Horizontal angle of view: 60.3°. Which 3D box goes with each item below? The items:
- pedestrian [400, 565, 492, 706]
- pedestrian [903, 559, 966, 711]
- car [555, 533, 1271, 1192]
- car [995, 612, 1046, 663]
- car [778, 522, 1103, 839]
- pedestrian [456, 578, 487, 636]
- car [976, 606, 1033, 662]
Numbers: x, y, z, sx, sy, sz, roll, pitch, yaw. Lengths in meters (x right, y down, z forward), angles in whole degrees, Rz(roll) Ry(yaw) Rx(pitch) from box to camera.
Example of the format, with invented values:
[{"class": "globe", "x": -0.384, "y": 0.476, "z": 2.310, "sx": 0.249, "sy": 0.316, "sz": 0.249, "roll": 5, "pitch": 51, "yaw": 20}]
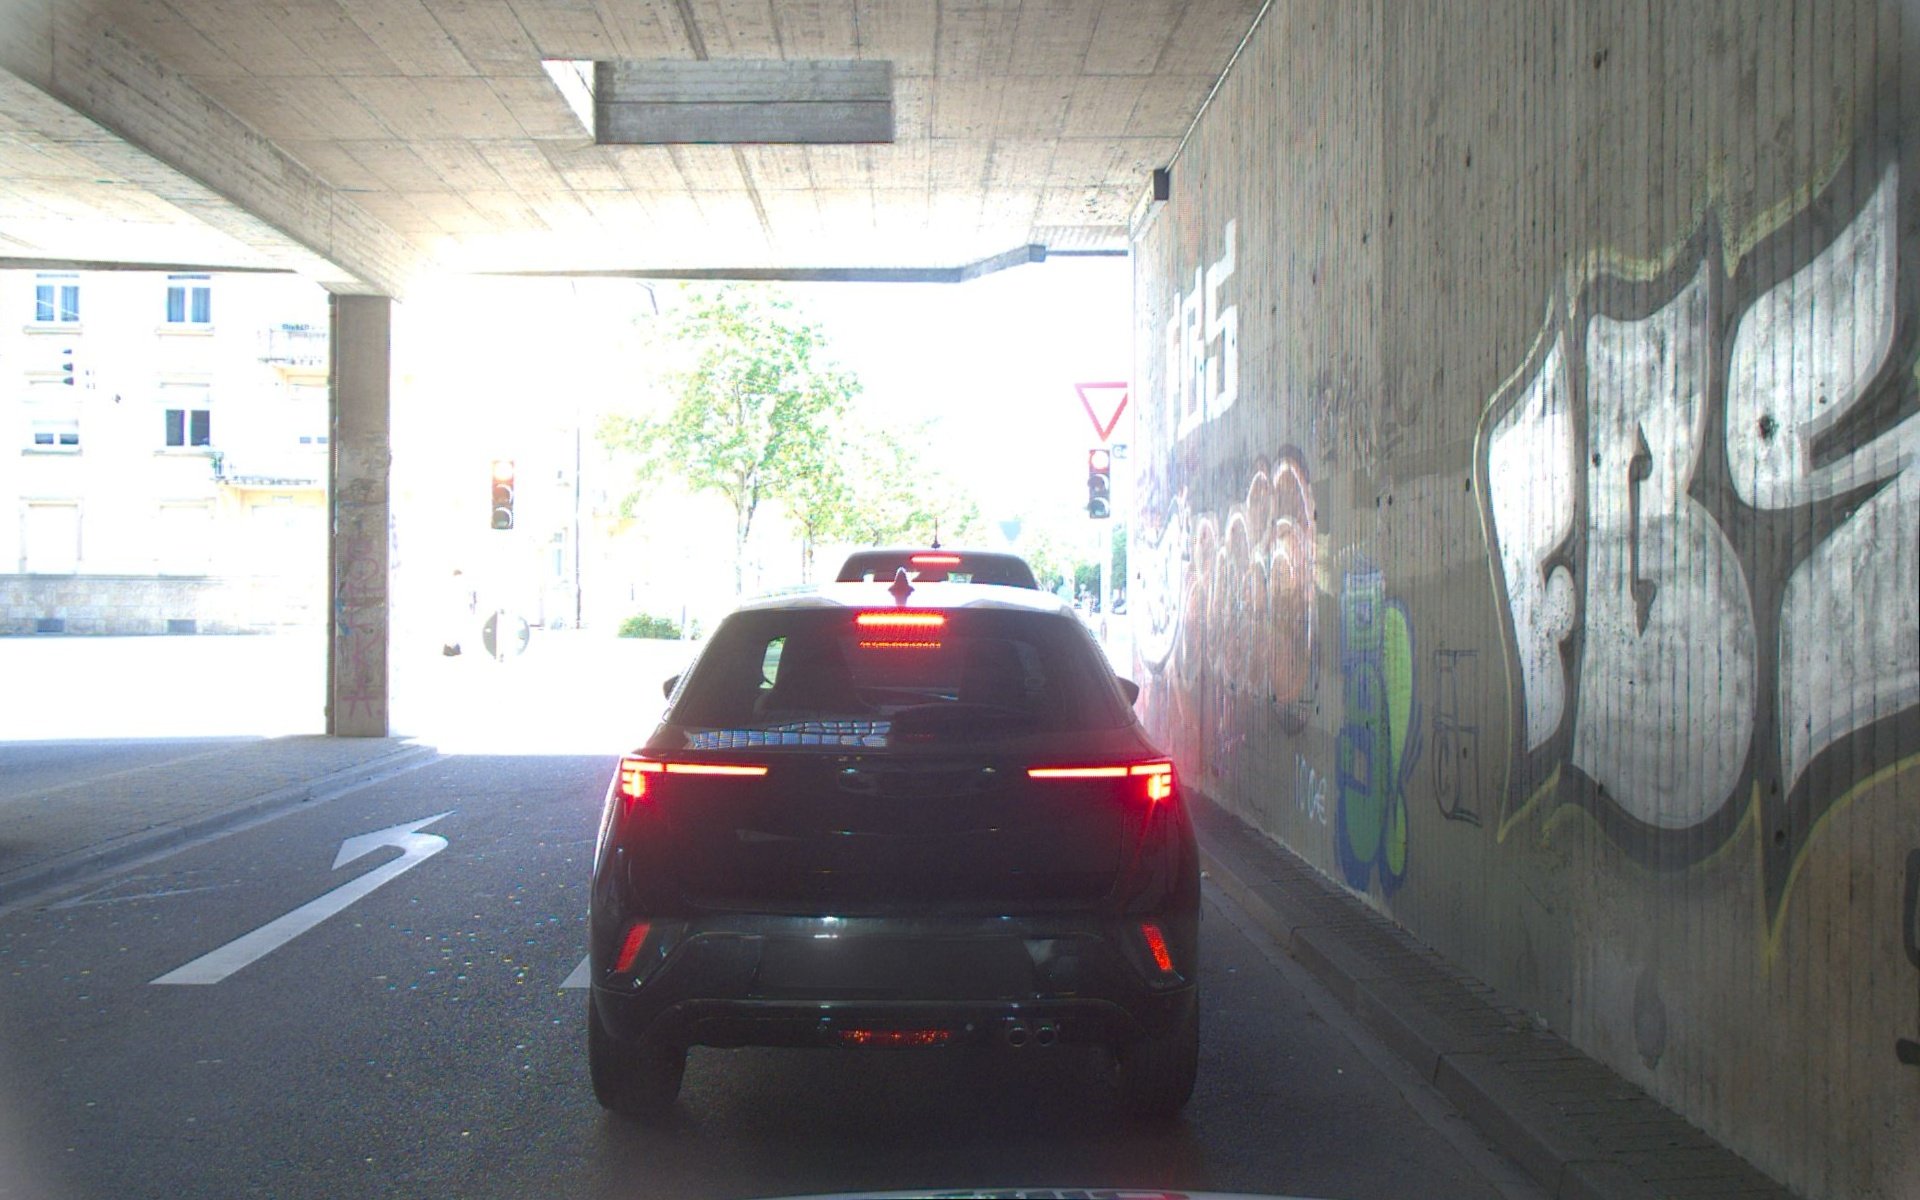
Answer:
[{"class": "pedestrian", "x": -6.728, "y": 0.457, "z": 21.694, "sx": 0.910, "sy": 1.792, "sz": 0.794, "roll": 1, "pitch": -1, "yaw": 1}, {"class": "pedestrian", "x": -0.306, "y": 0.414, "z": 19.841, "sx": 0.716, "sy": 1.764, "sz": 0.874, "roll": 1, "pitch": -1, "yaw": -1}, {"class": "car", "x": -0.141, "y": 0.604, "z": 6.057, "sx": 1.729, "sy": 1.598, "sz": 4.000, "roll": 1, "pitch": 1, "yaw": -1}, {"class": "car", "x": 2.537, "y": 1.517, "z": 68.505, "sx": 1.951, "sy": 2.004, "sz": 4.166, "roll": 1, "pitch": 0, "yaw": 4}, {"class": "car", "x": -0.145, "y": 0.471, "z": 11.989, "sx": 1.953, "sy": 1.904, "sz": 3.999, "roll": 0, "pitch": 0, "yaw": -1}, {"class": "pedestrian", "x": -14.387, "y": 0.205, "z": 48.751, "sx": 0.658, "sy": 1.666, "sz": 0.740, "roll": 1, "pitch": -1, "yaw": -1}, {"class": "car", "x": 1.713, "y": 1.252, "z": 62.318, "sx": 1.951, "sy": 2.004, "sz": 4.166, "roll": 1, "pitch": 0, "yaw": 4}]
